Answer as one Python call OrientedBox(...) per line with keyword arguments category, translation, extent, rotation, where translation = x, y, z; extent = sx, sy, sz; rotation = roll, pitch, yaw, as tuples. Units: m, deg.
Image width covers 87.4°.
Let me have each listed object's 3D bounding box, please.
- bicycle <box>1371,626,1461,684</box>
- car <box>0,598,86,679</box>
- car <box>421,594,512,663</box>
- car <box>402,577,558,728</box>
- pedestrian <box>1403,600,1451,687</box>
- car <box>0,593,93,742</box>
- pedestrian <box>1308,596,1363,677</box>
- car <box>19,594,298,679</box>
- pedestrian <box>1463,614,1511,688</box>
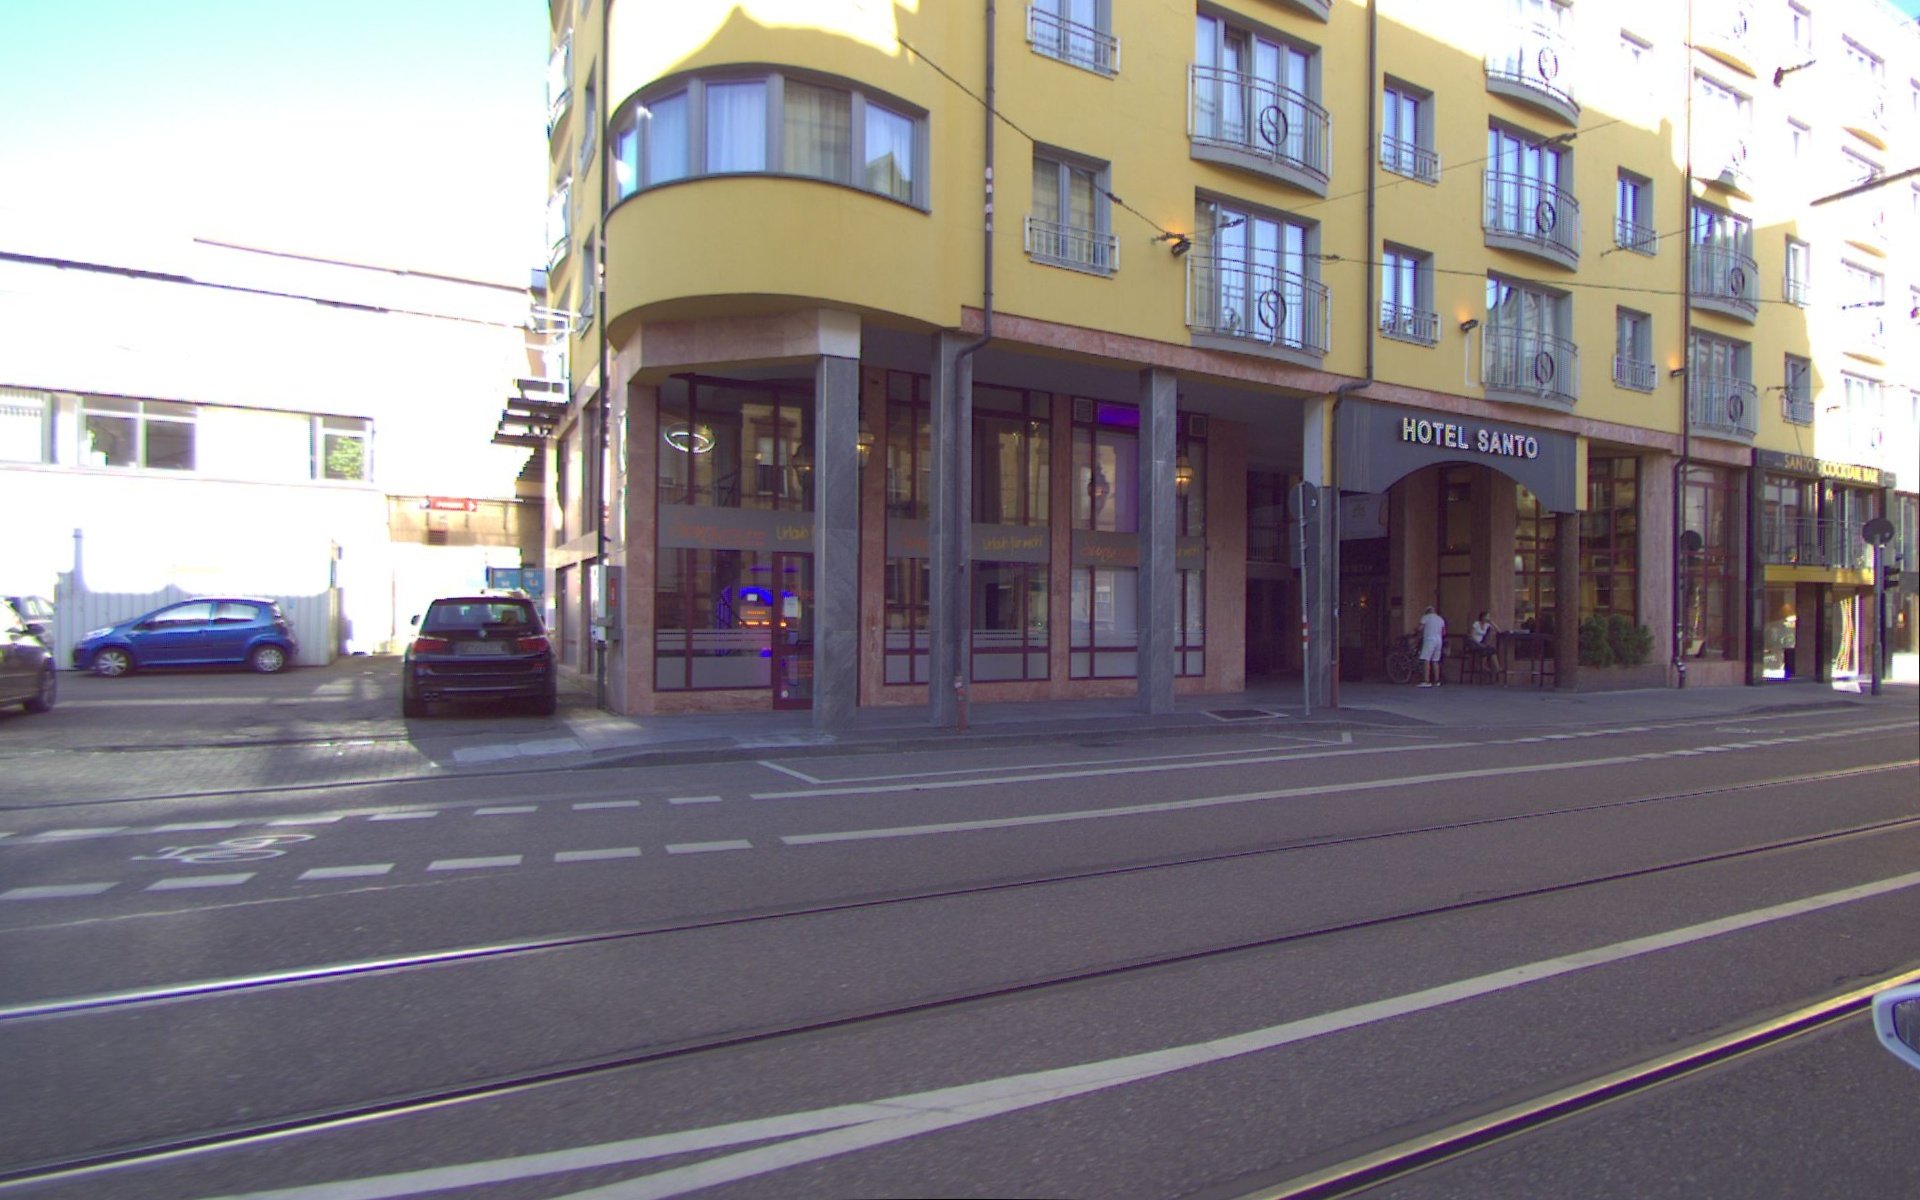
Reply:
OrientedBox(category="bicycle", translation=(9.979, 1.194, 21.958), extent=(2.052, 1.219, 0.580), rotation=(1, 0, -25))
OrientedBox(category="car", translation=(-19.049, 0.725, 20.118), extent=(1.676, 1.499, 3.561), rotation=(1, -1, -30))
OrientedBox(category="car", translation=(-11.757, 0.642, 23.834), extent=(1.676, 1.499, 3.561), rotation=(1, -1, -30))
OrientedBox(category="car", translation=(-6.979, 0.664, 14.466), extent=(1.763, 1.836, 4.216), rotation=(1, -1, -28))
OrientedBox(category="pedestrian", translation=(9.881, 0.910, 21.265), extent=(0.713, 1.793, 0.559), rotation=(1, 0, -24))
OrientedBox(category="car", translation=(-11.859, 0.726, 11.682), extent=(1.763, 1.569, 4.215), rotation=(2, 0, -28))
OrientedBox(category="pedestrian", translation=(8.497, 0.818, 22.752), extent=(0.943, 1.793, 0.705), rotation=(1, 0, -24))
OrientedBox(category="car", translation=(-15.064, 0.670, 19.200), extent=(3.957, 1.473, 1.769), rotation=(1, -1, -33))
OrientedBox(category="pedestrian", translation=(11.361, 1.086, 21.669), extent=(0.593, 1.568, 0.703), rotation=(1, 0, -24))
